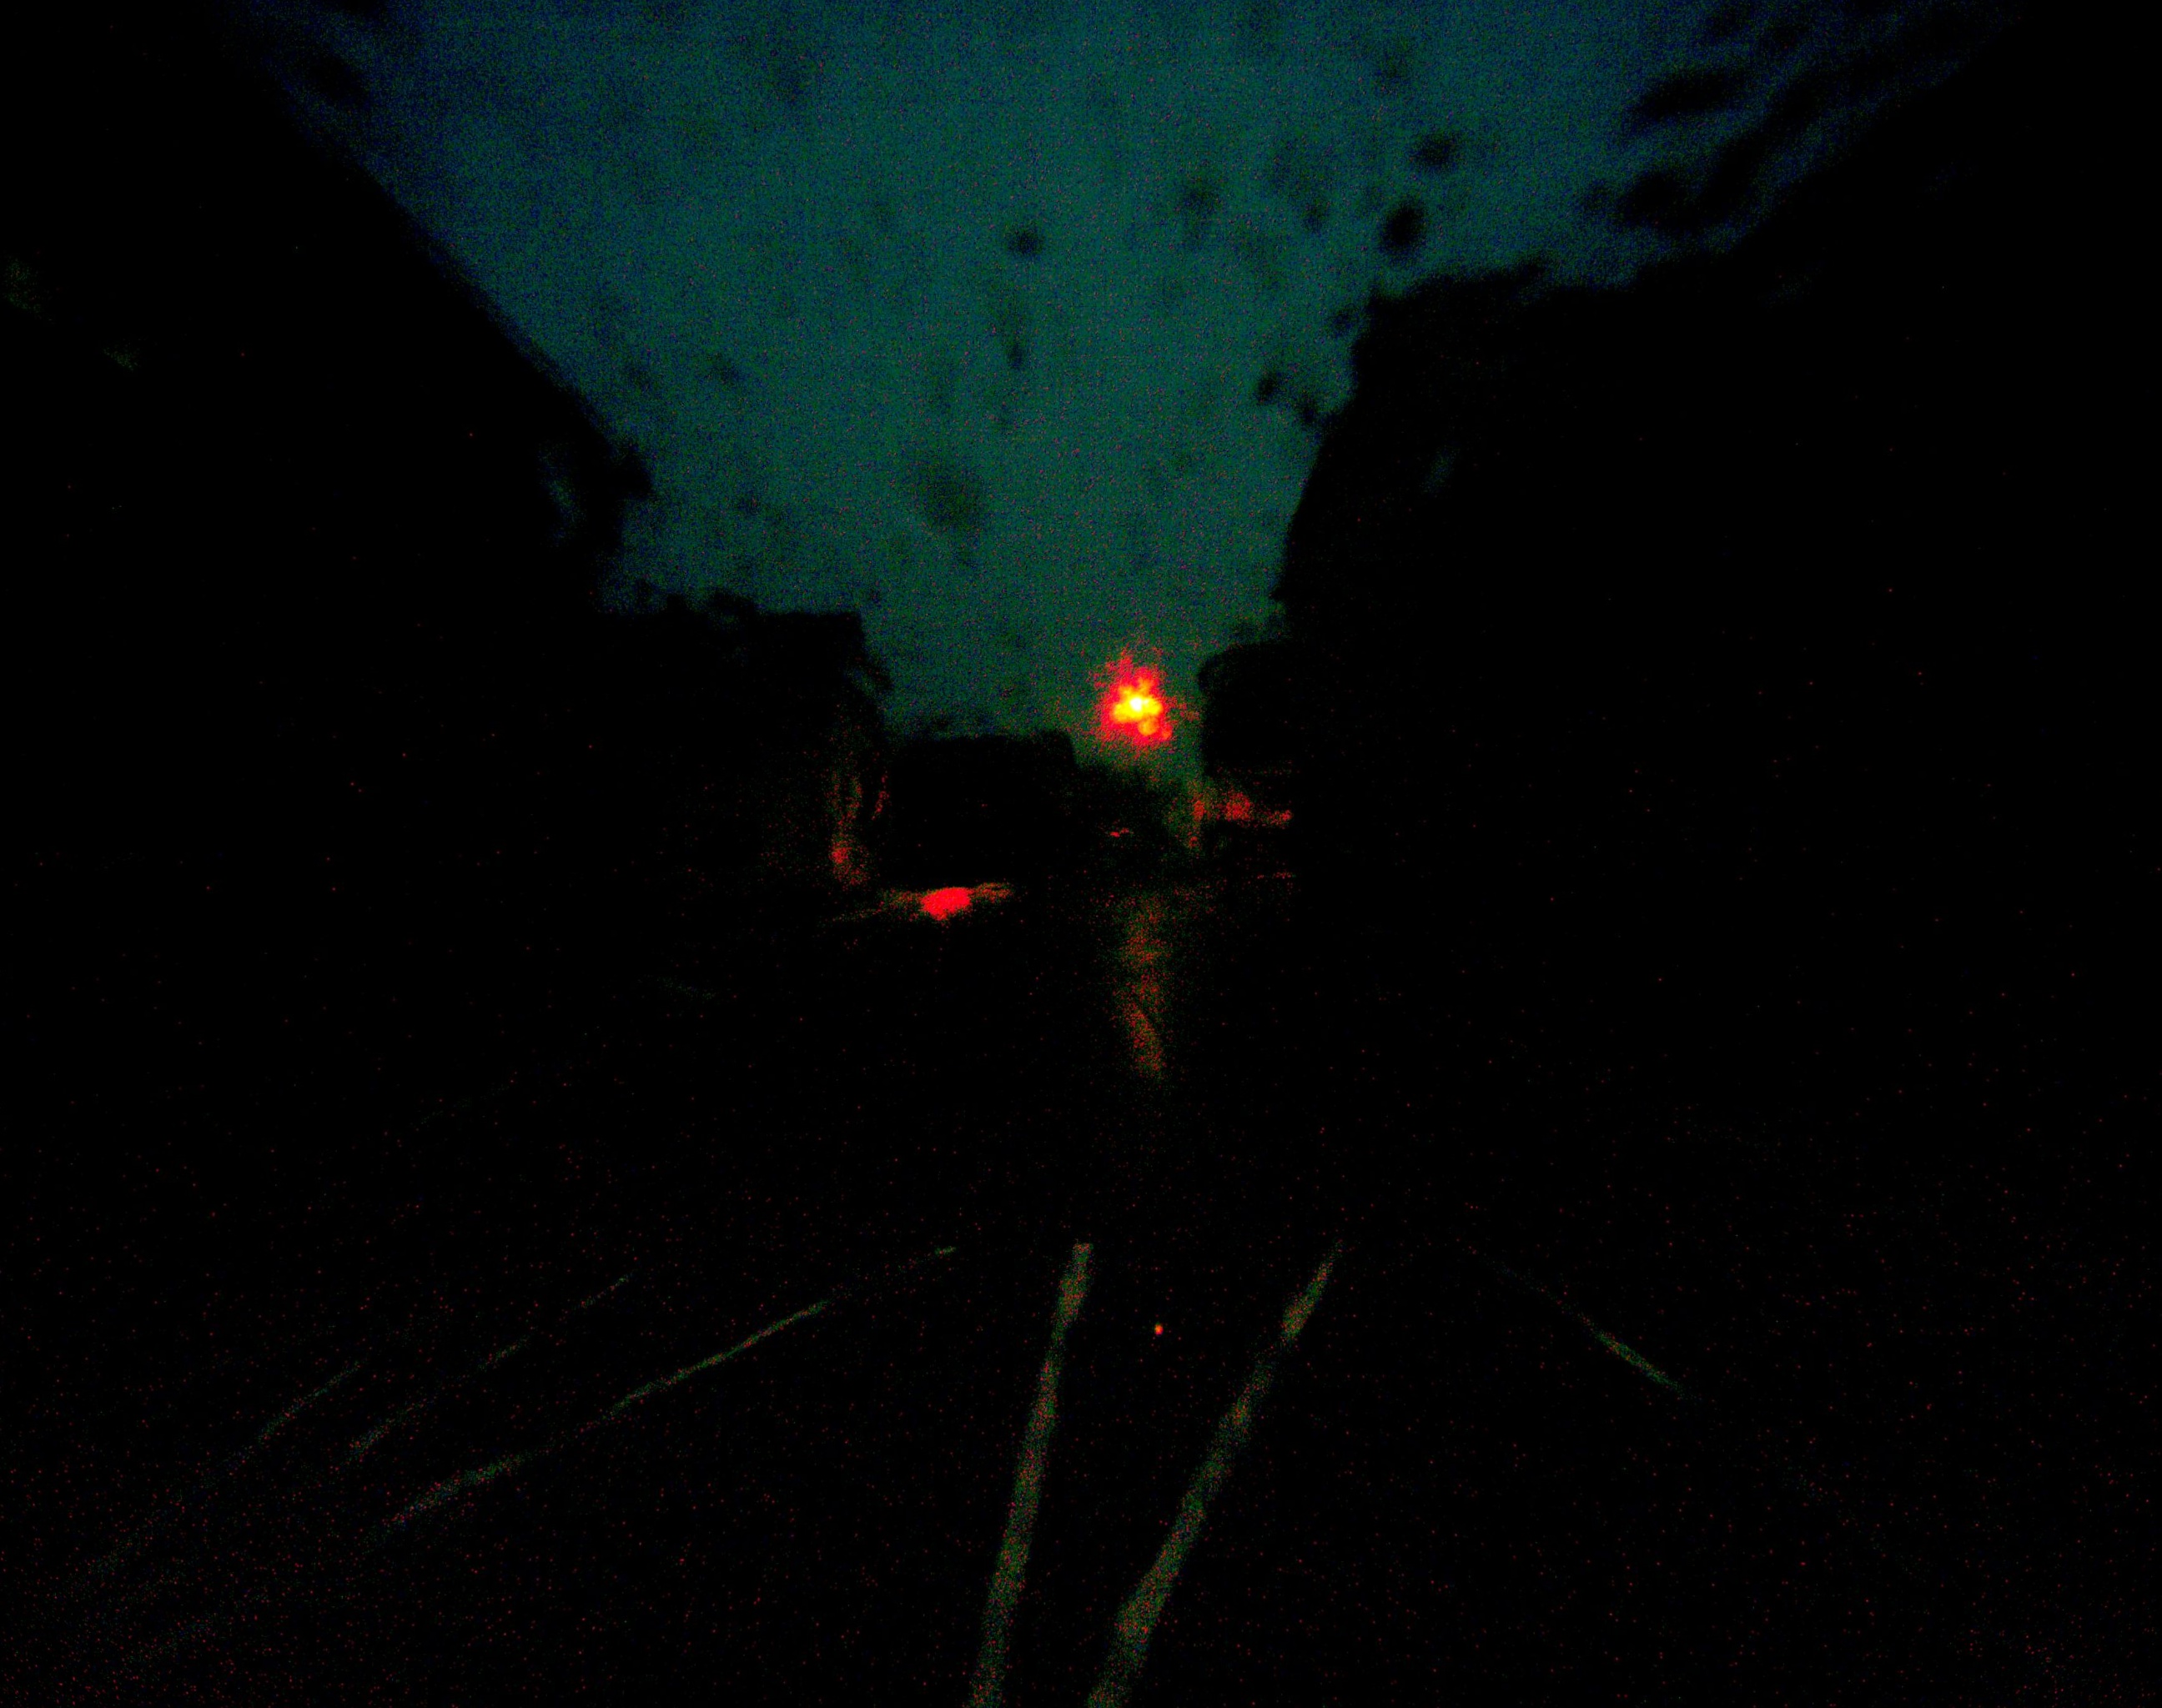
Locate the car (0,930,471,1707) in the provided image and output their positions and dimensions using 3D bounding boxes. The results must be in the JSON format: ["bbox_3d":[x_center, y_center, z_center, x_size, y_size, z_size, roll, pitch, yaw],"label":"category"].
[{"bbox_3d":[-2.951,1.031,0.570,1.720,1.491,3.907,-1,0,1],"label":"car"}]

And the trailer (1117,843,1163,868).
[{"bbox_3d":[4.025,0.064,50.995,1.996,1.380,4.736,-4,1,18],"label":"trailer"}]
